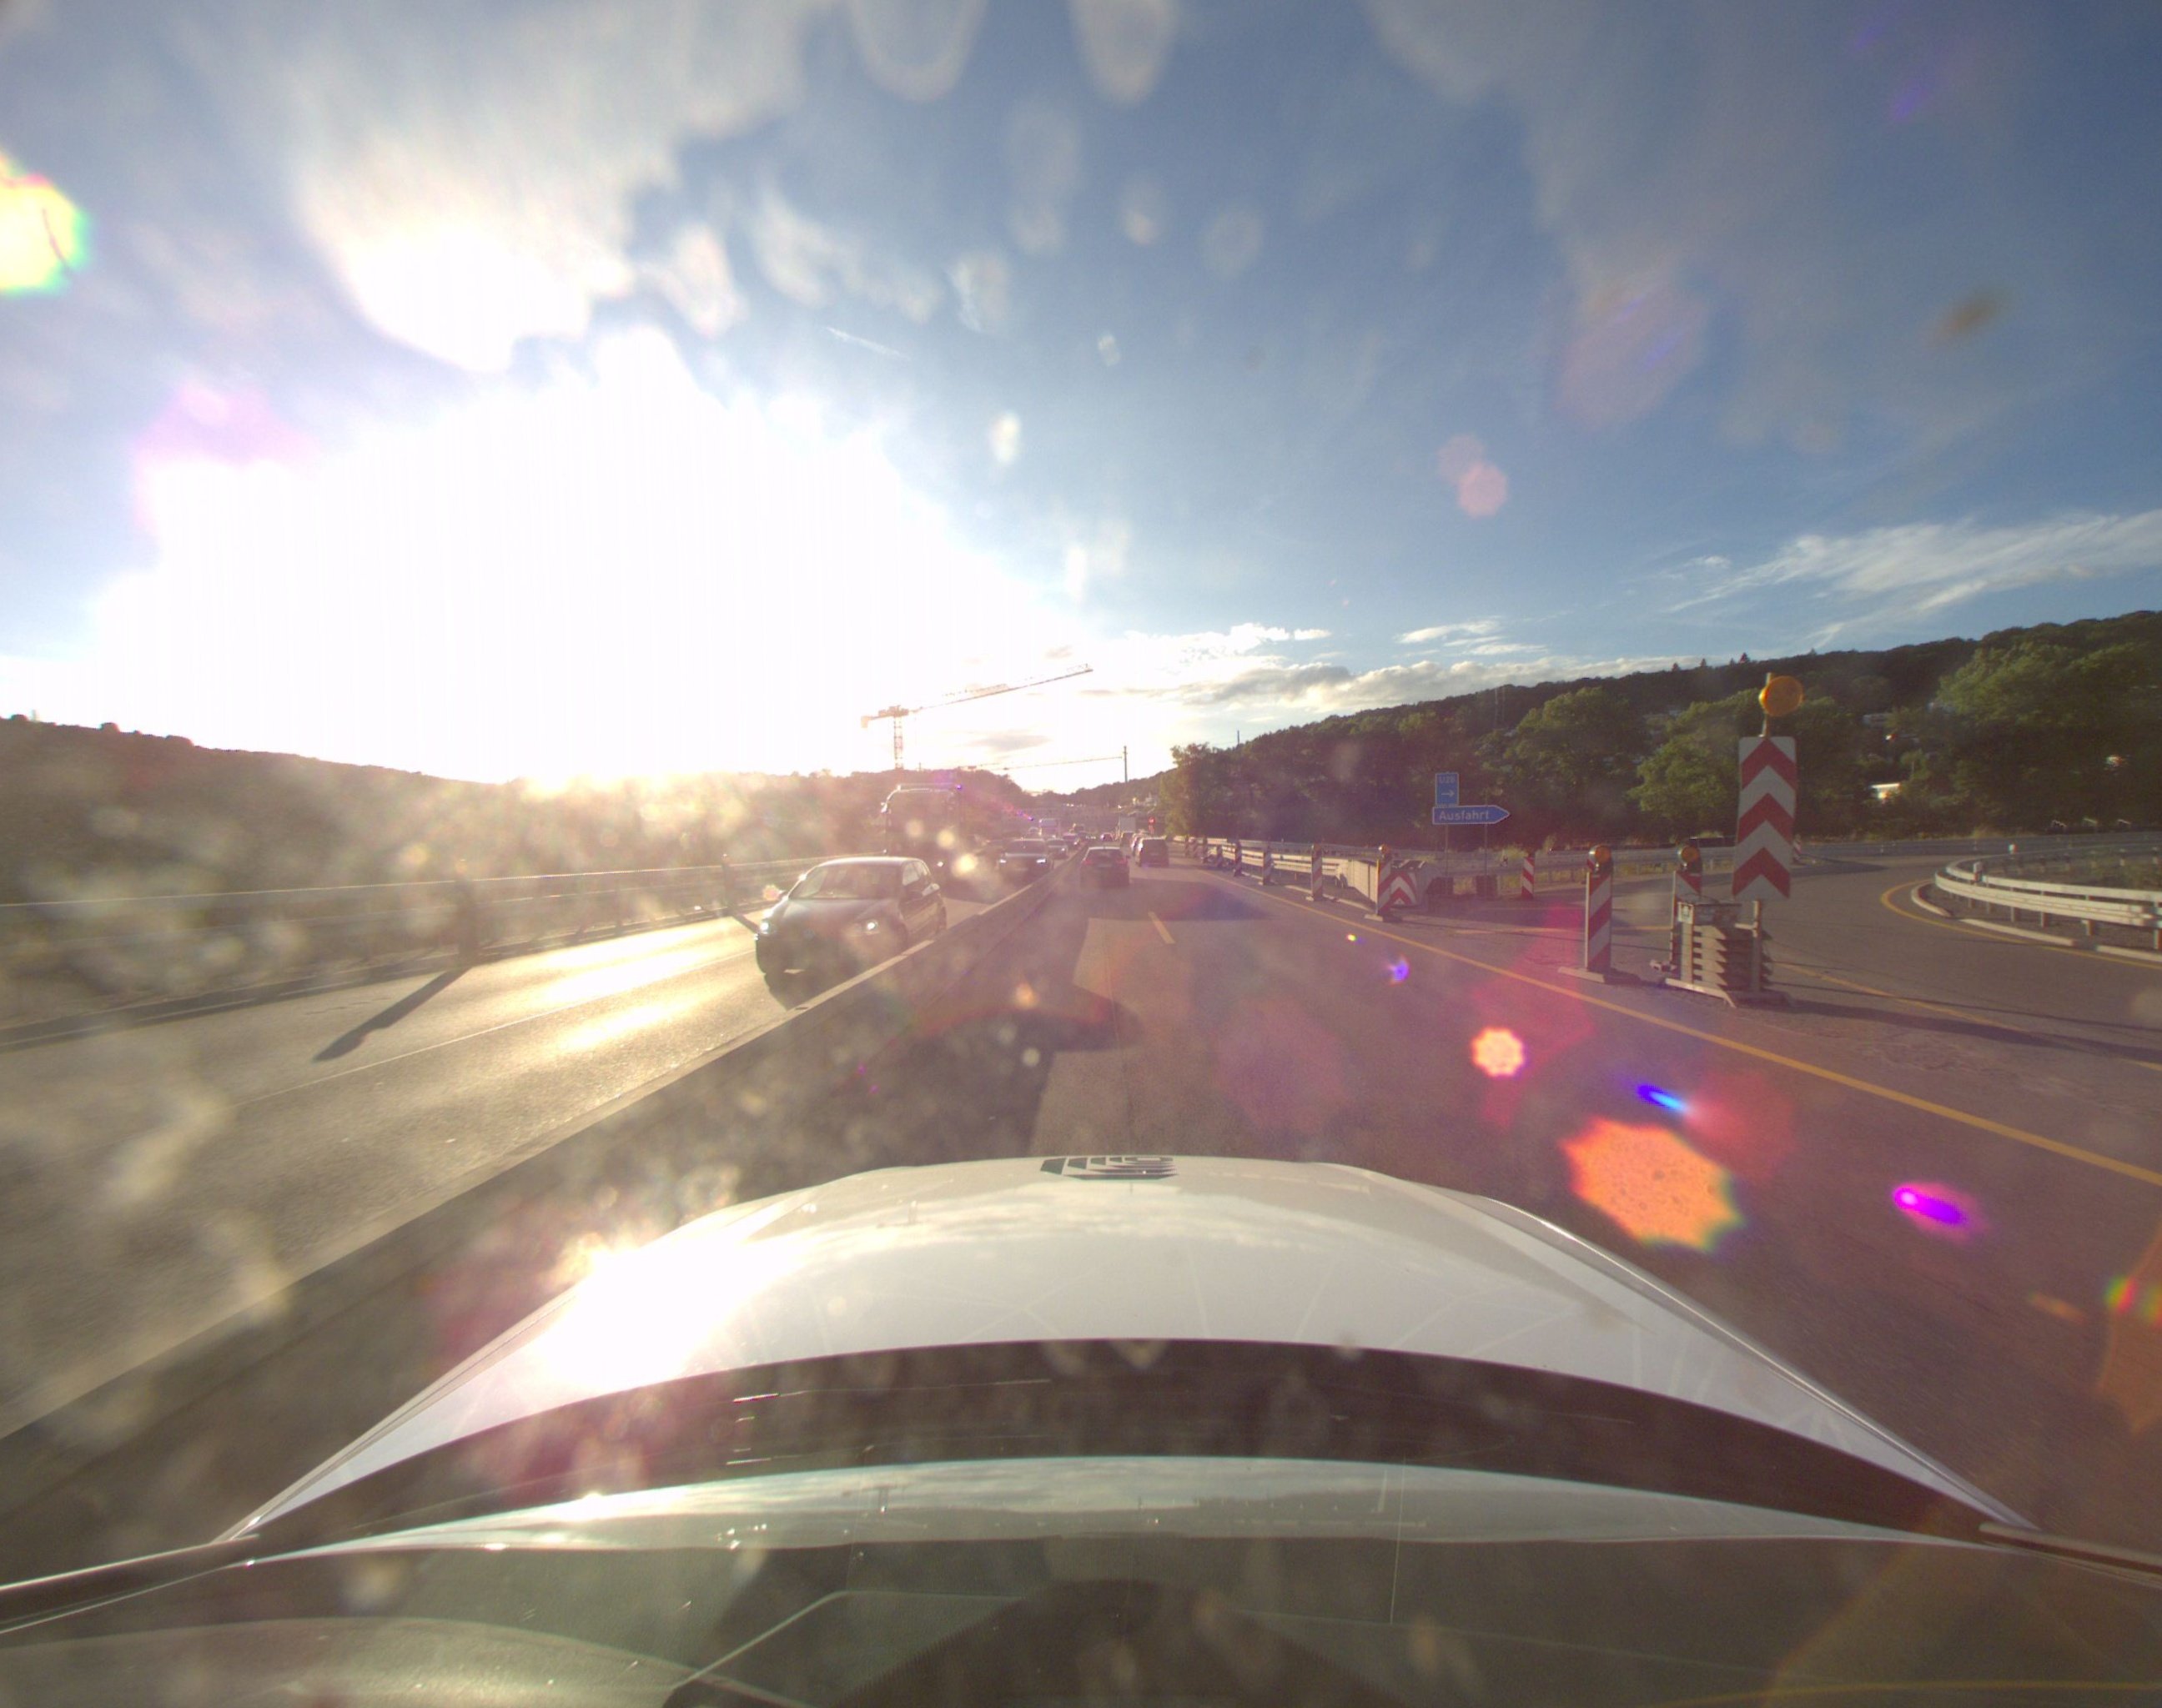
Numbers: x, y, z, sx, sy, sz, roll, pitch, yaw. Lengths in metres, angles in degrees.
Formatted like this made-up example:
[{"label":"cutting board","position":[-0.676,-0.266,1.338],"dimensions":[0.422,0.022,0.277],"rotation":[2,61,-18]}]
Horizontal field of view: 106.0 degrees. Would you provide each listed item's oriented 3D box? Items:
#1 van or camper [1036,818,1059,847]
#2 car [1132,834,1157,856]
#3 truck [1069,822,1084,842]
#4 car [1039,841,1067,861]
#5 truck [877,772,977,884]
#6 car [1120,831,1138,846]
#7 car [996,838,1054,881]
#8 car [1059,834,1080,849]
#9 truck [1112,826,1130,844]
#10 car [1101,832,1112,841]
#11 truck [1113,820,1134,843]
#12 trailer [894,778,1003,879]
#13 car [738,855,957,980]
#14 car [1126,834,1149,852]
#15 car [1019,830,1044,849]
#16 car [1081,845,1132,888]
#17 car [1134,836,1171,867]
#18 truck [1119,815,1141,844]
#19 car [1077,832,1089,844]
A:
[{"label":"van or camper","position":[-4.185,-2.784,103.612],"dimensions":[2.449,3.497,7.417],"rotation":[-1,2,1]},{"label":"car","position":[4.896,-0.720,63.189],"dimensions":[1.767,1.586,4.138],"rotation":[0,1,2]},{"label":"truck","position":[-0.991,-4.598,173.177],"dimensions":[2.803,4.048,5.677],"rotation":[-1,1,3]},{"label":"car","position":[-2.048,-0.251,60.706],"dimensions":[1.854,1.432,4.157],"rotation":[0,1,1]},{"label":"truck","position":[-5.999,-0.995,32.744],"dimensions":[2.759,4.081,5.778],"rotation":[0,1,1]},{"label":"car","position":[5.318,-1.756,91.114],"dimensions":[1.808,1.632,4.412],"rotation":[0,1,1]},{"label":"car","position":[-2.233,0.216,33.445],"dimensions":[1.904,1.609,4.497],"rotation":[-1,0,2]},{"label":"car","position":[-1.147,-1.233,82.035],"dimensions":[1.808,1.463,4.710],"rotation":[0,0,3]},{"label":"truck","position":[10.185,-4.870,210.849],"dimensions":[3.878,4.497,13.847],"rotation":[0,2,0]},{"label":"car","position":[4.073,-2.825,130.534],"dimensions":[1.856,1.420,4.002],"rotation":[0,1,2]},{"label":"truck","position":[8.636,-4.654,167.078],"dimensions":[3.876,4.497,15.275],"rotation":[0,2,2]},{"label":"trailer","position":[-5.923,-1.108,39.205],"dimensions":[2.764,4.031,13.685],"rotation":[0,1,1]},{"label":"car","position":[-3.019,0.737,11.537],"dimensions":[1.709,1.409,4.329],"rotation":[-1,0,2]},{"label":"car","position":[5.311,-0.991,76.539],"dimensions":[1.869,1.599,4.966],"rotation":[-1,0,1]},{"label":"car","position":[-4.708,-1.386,78.258],"dimensions":[1.986,1.764,4.443],"rotation":[0,1,2]},{"label":"car","position":[0.876,0.415,29.716],"dimensions":[1.764,1.389,4.000],"rotation":[0,2,0]},{"label":"car","position":[4.082,-0.200,47.220],"dimensions":[1.806,1.615,4.528],"rotation":[-2,2,1]},{"label":"truck","position":[7.976,-4.200,134.605],"dimensions":[3.372,4.497,15.279],"rotation":[0,3,2]},{"label":"car","position":[0.309,-2.346,118.999],"dimensions":[1.821,1.639,4.531],"rotation":[-1,1,0]}]
